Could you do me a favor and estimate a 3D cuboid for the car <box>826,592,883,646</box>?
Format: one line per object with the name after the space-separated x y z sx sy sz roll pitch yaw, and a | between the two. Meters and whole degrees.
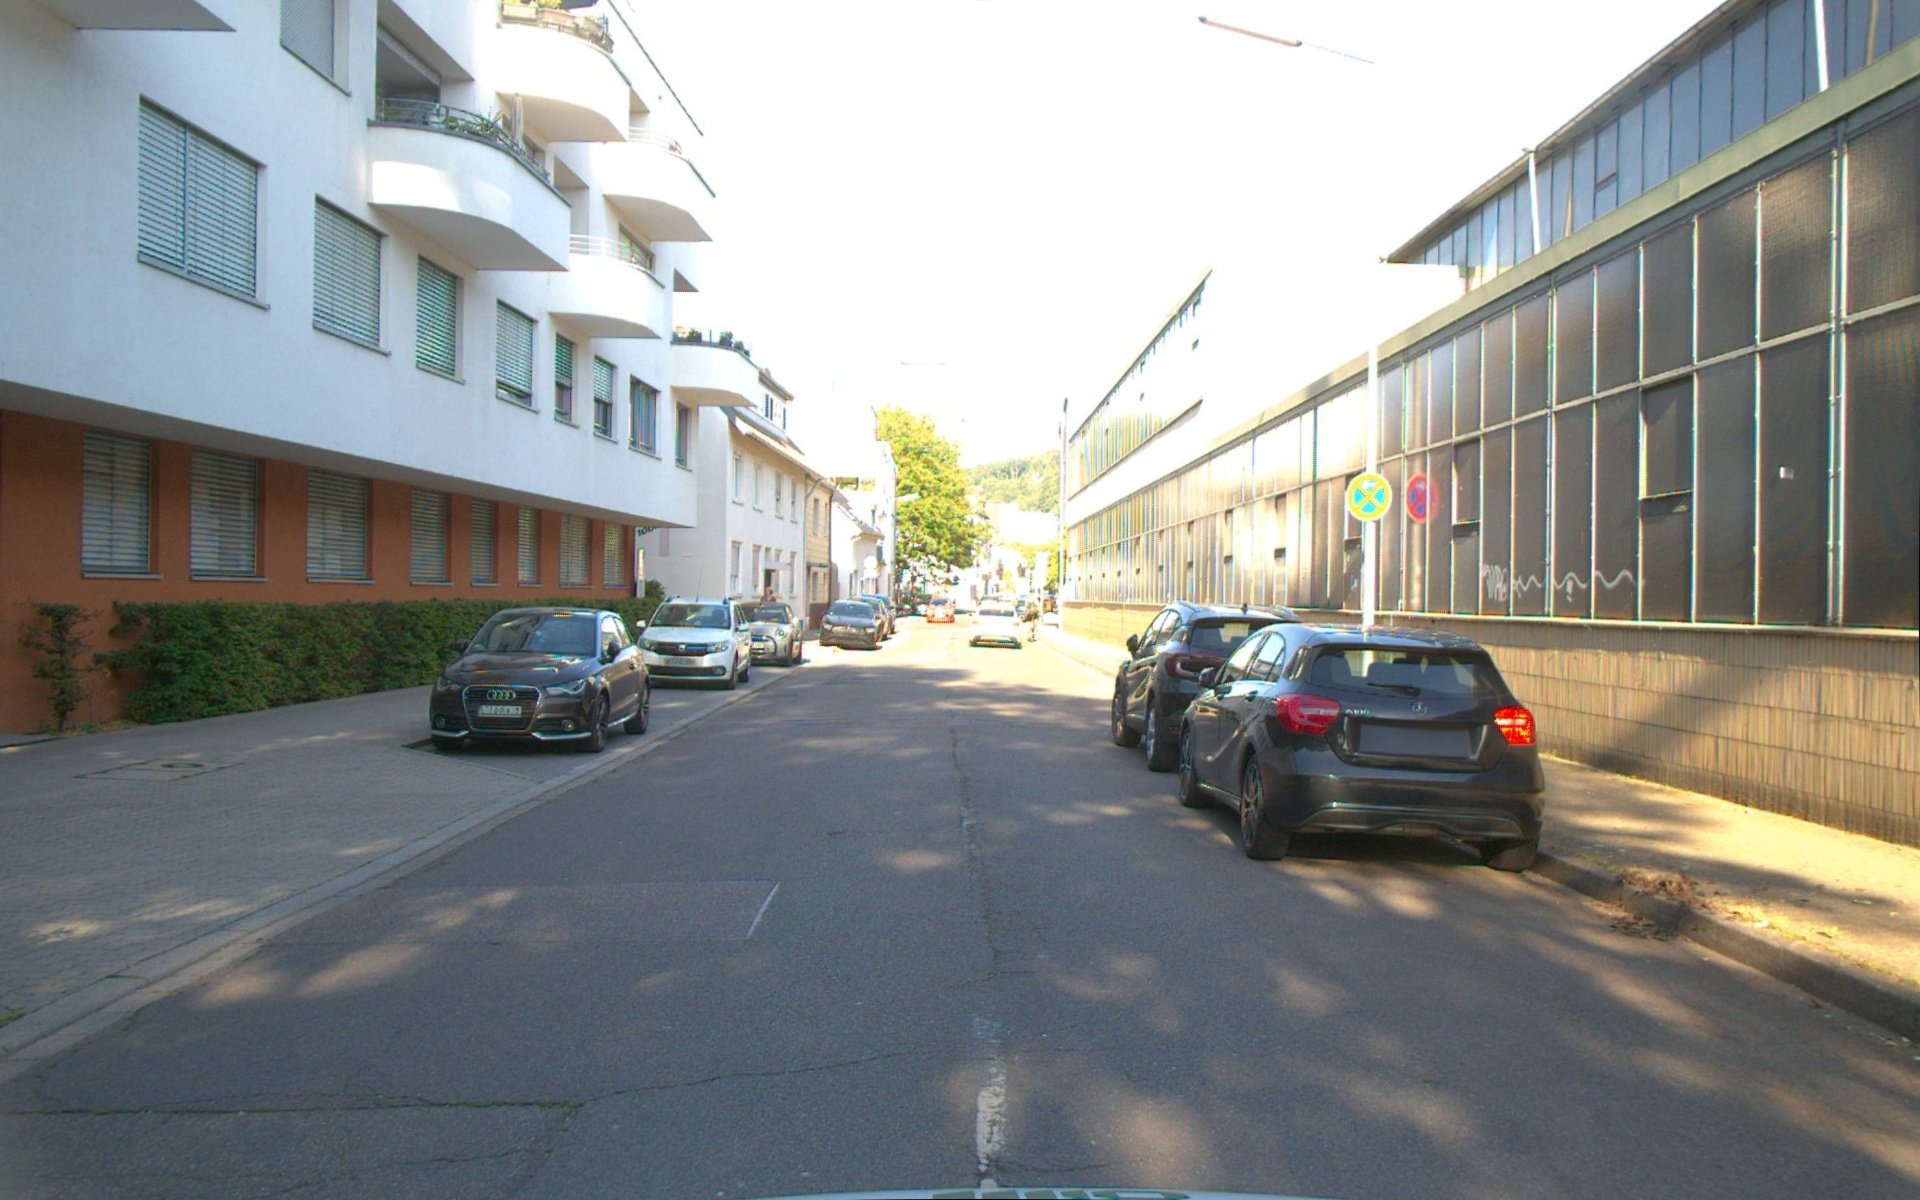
-3.287 0.588 51.821 1.651 1.562 4.332 2 0 -3 | car

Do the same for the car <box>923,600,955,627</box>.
-1.209 0.790 98.082 1.804 1.517 4.144 1 0 0 | car

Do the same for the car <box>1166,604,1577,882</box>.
2.643 0.831 11.763 1.715 1.517 4.621 2 0 0 | car

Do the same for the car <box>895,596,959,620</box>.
-2.231 0.544 111.565 4.043 1.517 1.849 1 0 7 | car

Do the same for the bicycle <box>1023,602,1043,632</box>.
2.823 0.648 64.084 0.684 1.150 2.403 1 0 2 | bicycle

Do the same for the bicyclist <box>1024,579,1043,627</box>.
2.835 0.111 64.066 0.684 1.821 1.041 1 -1 2 | bicyclist

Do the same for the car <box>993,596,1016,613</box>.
4.023 0.398 149.117 1.803 1.517 4.147 1 0 6 | car

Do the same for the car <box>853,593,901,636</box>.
-3.532 0.585 71.095 1.772 1.614 4.193 2 1 0 | car

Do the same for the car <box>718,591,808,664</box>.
-4.581 0.627 38.955 1.633 1.562 3.856 2 0 0 | car

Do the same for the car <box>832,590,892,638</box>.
-3.620 0.475 61.856 1.819 1.614 4.336 2 1 1 | car

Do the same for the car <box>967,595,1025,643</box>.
1.184 0.625 55.630 1.804 1.517 4.143 1 0 0 | car

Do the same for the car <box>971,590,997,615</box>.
1.867 0.165 128.517 1.815 1.823 4.606 1 0 -1 | car

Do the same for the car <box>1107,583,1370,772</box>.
2.679 0.703 16.949 1.771 1.615 4.403 2 0 -2 | car

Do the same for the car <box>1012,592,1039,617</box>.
4.308 0.297 108.719 1.596 1.615 4.069 -2 0 0 | car

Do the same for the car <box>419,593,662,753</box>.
-4.339 0.707 17.679 1.640 1.458 3.769 2 0 -1 | car

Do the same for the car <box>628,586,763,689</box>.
-4.632 0.628 29.570 1.821 1.615 4.618 2 0 -3 | car

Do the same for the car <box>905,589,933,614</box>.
-3.101 0.086 125.703 1.814 1.823 4.608 1 0 2 | car

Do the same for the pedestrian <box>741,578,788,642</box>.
-5.880 0.301 49.848 0.844 1.850 1.131 4 1 24 | pedestrian
